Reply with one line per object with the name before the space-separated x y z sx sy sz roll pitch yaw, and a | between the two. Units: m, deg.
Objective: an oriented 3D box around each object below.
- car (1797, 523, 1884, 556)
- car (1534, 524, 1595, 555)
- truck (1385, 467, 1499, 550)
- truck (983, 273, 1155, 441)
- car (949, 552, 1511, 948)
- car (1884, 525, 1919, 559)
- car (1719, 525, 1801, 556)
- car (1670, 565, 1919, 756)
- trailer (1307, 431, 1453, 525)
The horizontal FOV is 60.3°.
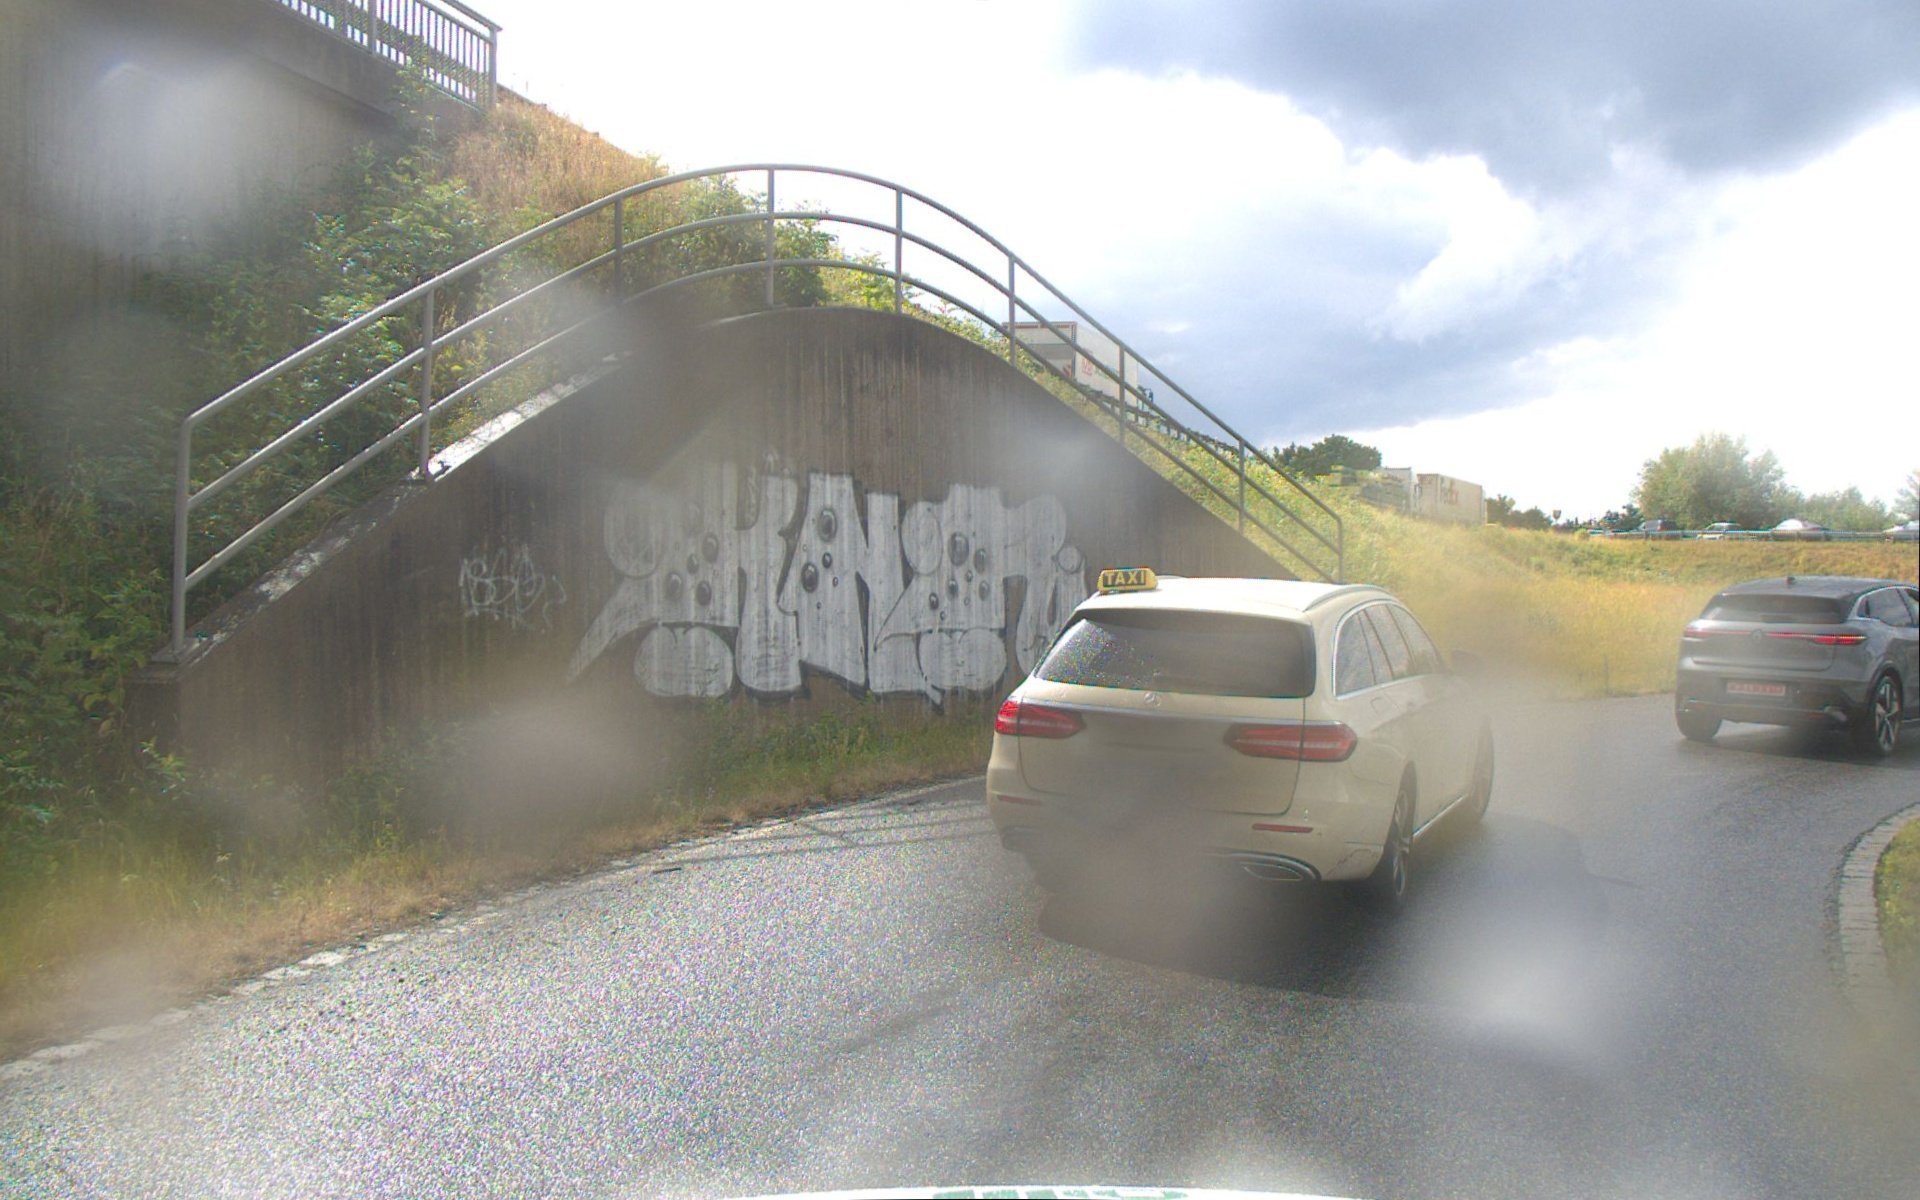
car | 54.973 -3.751 103.333 1.978 1.894 4.453 0 0 -36
car | 42.496 -4.243 116.232 3.906 2.049 1.826 2 -1 22
truck | 35.471 -6.452 120.820 4.374 4.582 19.350 1 -1 27
truck | 3.817 -7.834 55.069 3.115 4.035 9.237 1 -1 20
car | 1.742 0.559 8.887 1.878 1.533 4.594 1 0 24
car | 57.377 -3.456 97.361 1.971 1.894 5.009 0 0 -28
car | 53.692 -3.986 111.118 1.964 1.894 5.027 0 0 -20
car | 8.348 0.461 15.567 3.970 1.551 1.696 -1 2 -45
trailer | 26.610 -7.340 103.372 4.328 4.025 20.191 1 -1 27
